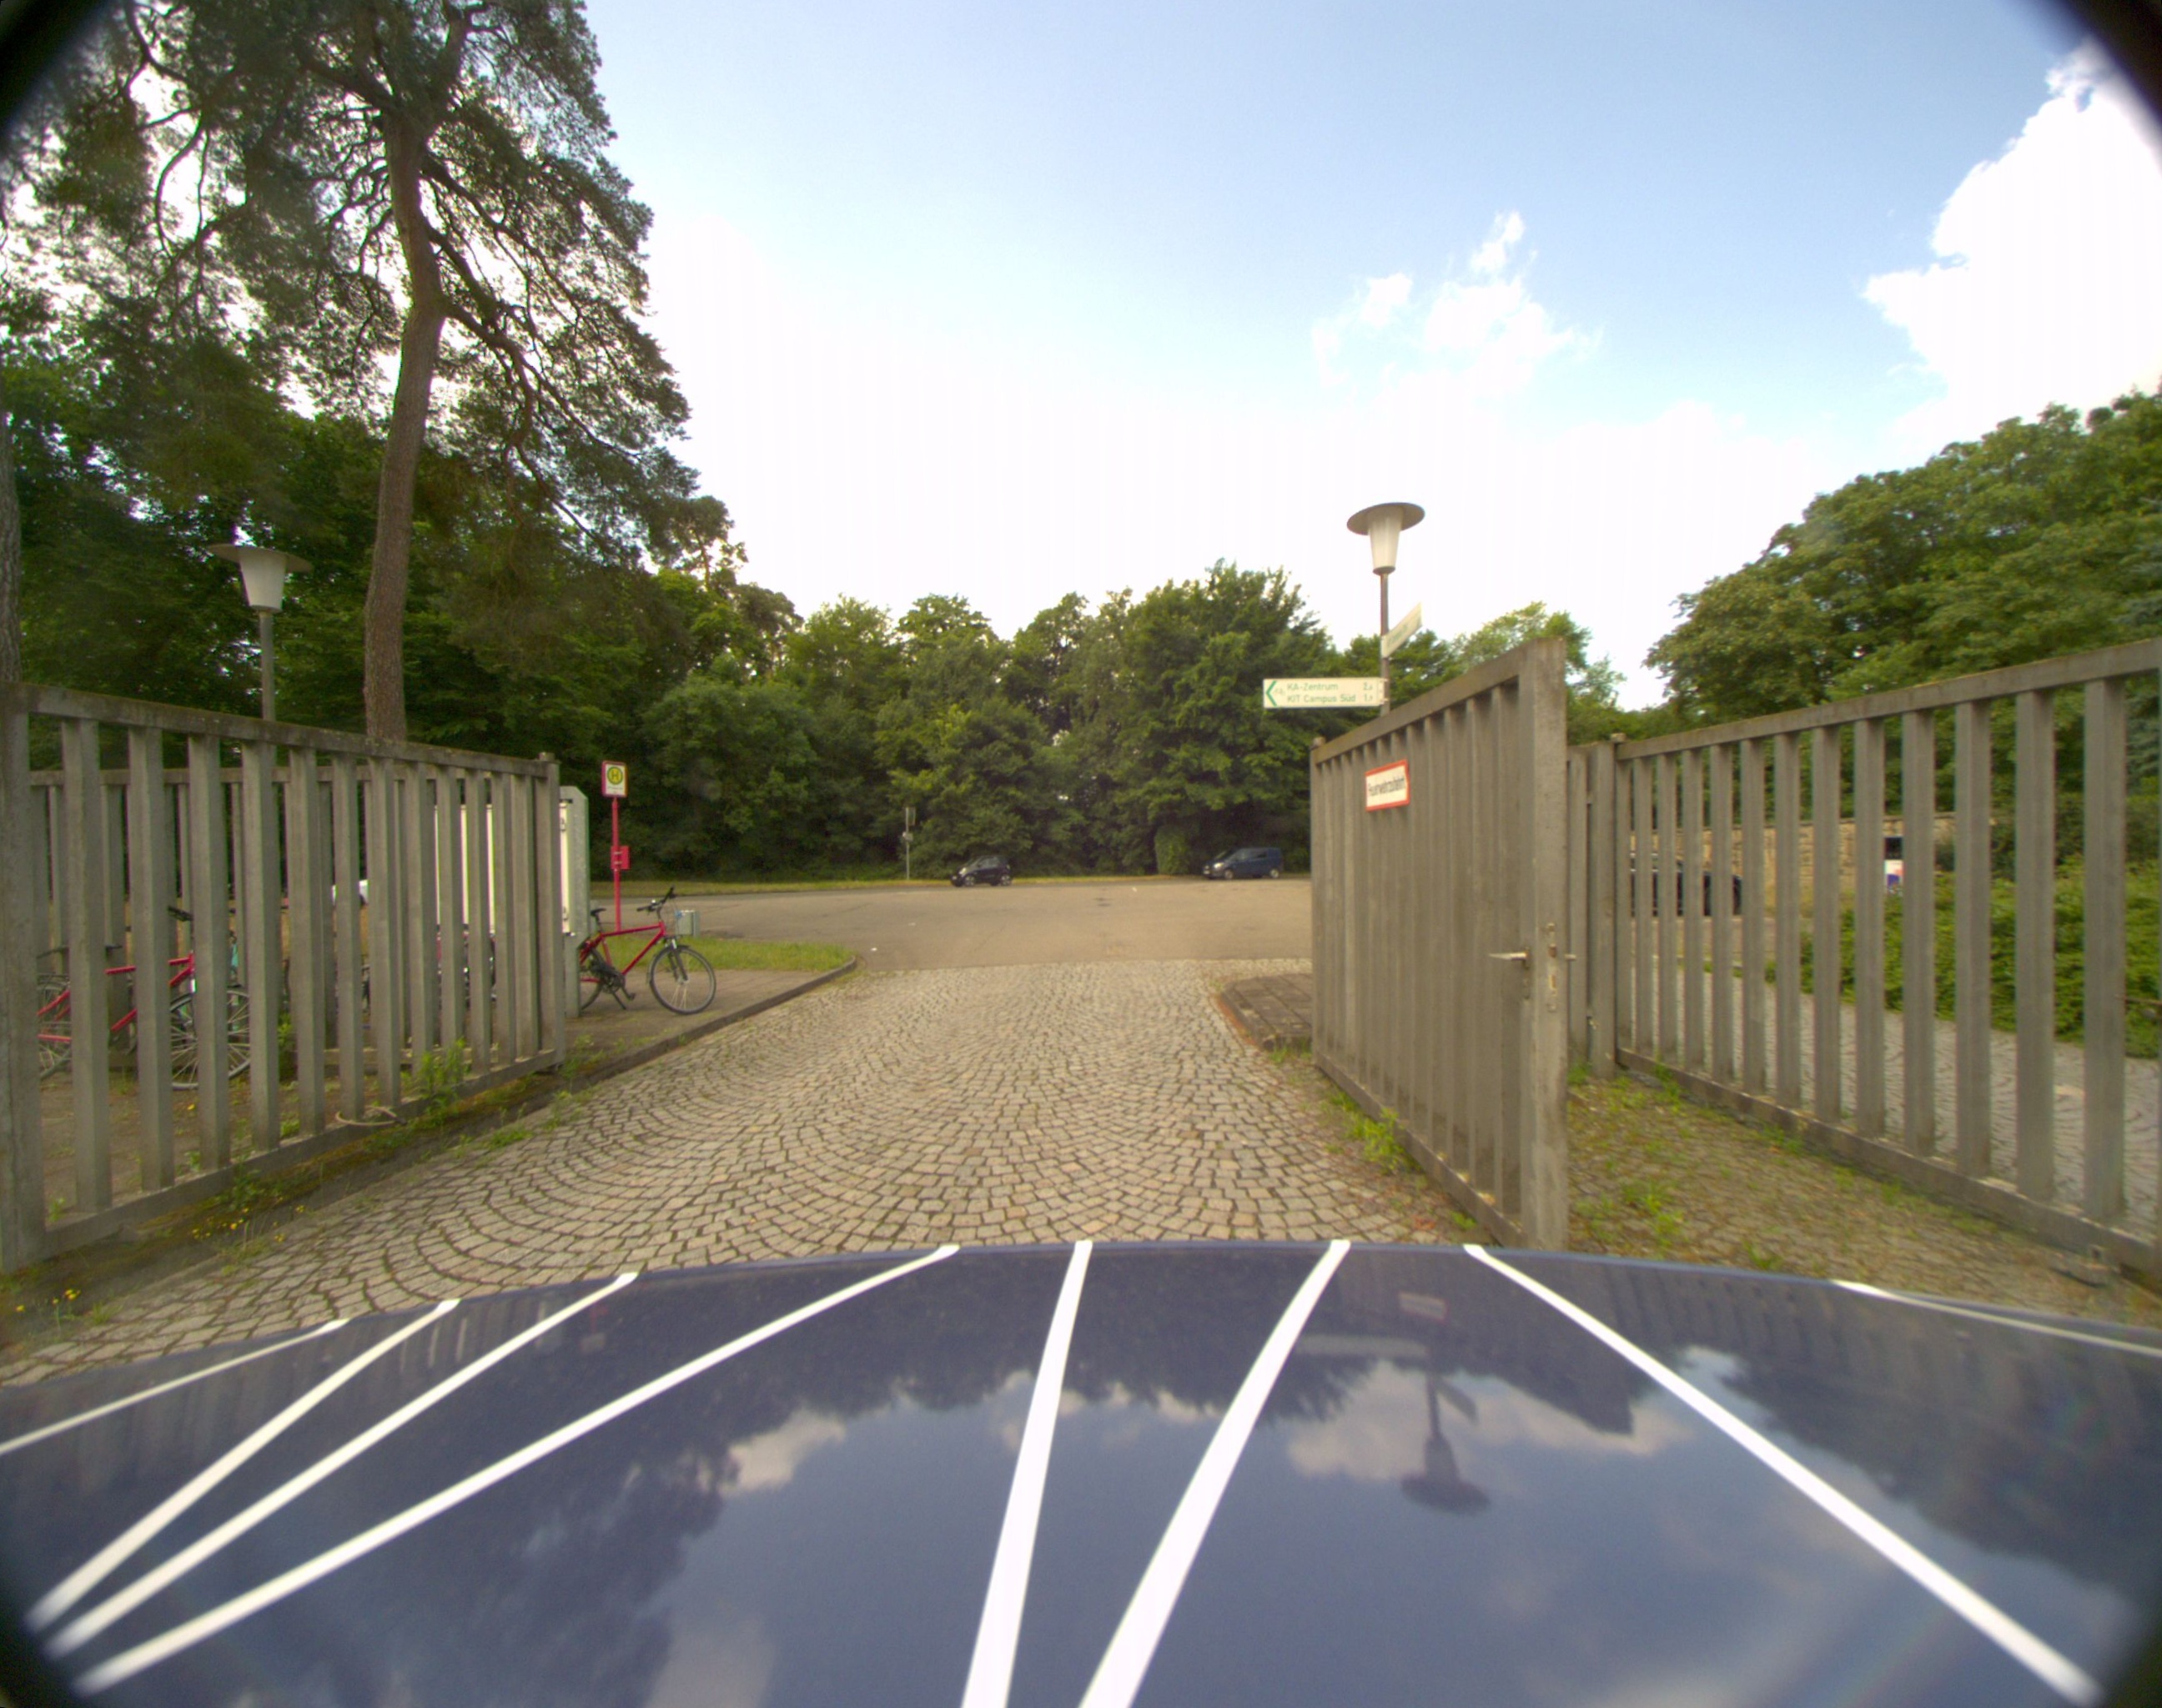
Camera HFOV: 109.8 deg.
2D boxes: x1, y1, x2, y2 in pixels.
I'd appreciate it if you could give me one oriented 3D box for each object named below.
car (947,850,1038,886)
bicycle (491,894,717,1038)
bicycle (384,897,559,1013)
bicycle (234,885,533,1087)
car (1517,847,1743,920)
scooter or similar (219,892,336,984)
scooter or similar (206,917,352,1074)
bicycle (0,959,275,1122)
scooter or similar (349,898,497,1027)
[{"bbox_3d":[-4.388,0.667,37.590,4.006,1.674,1.995,-1,1,-28],"label":"car"},{"bbox_3d":[-4.569,1.060,7.362,1.739,1.270,0.672,1,1,-2],"label":"bicycle"},{"bbox_3d":[-6.694,1.079,8.359,1.608,1.155,0.623,0,0,13],"label":"bicycle"},{"bbox_3d":[-5.272,0.957,5.779,1.904,1.409,0.516,0,2,7],"label":"bicycle"},{"bbox_3d":[13.129,0.687,18.399,3.996,1.537,1.900,-2,0,4],"label":"car"},{"bbox_3d":[-11.141,1.157,10.560,1.090,1.221,0.438,1,2,-3],"label":"scooter or similar"},{"bbox_3d":[-7.003,1.182,6.694,0.439,1.143,1.249,-1,0,-26],"label":"scooter or similar"},{"bbox_3d":[-6.541,1.214,5.049,1.950,0.962,0.457,-1,1,3],"label":"bicycle"},{"bbox_3d":[-6.729,1.085,7.777,1.282,1.238,0.386,0,1,8],"label":"scooter or similar"}]
